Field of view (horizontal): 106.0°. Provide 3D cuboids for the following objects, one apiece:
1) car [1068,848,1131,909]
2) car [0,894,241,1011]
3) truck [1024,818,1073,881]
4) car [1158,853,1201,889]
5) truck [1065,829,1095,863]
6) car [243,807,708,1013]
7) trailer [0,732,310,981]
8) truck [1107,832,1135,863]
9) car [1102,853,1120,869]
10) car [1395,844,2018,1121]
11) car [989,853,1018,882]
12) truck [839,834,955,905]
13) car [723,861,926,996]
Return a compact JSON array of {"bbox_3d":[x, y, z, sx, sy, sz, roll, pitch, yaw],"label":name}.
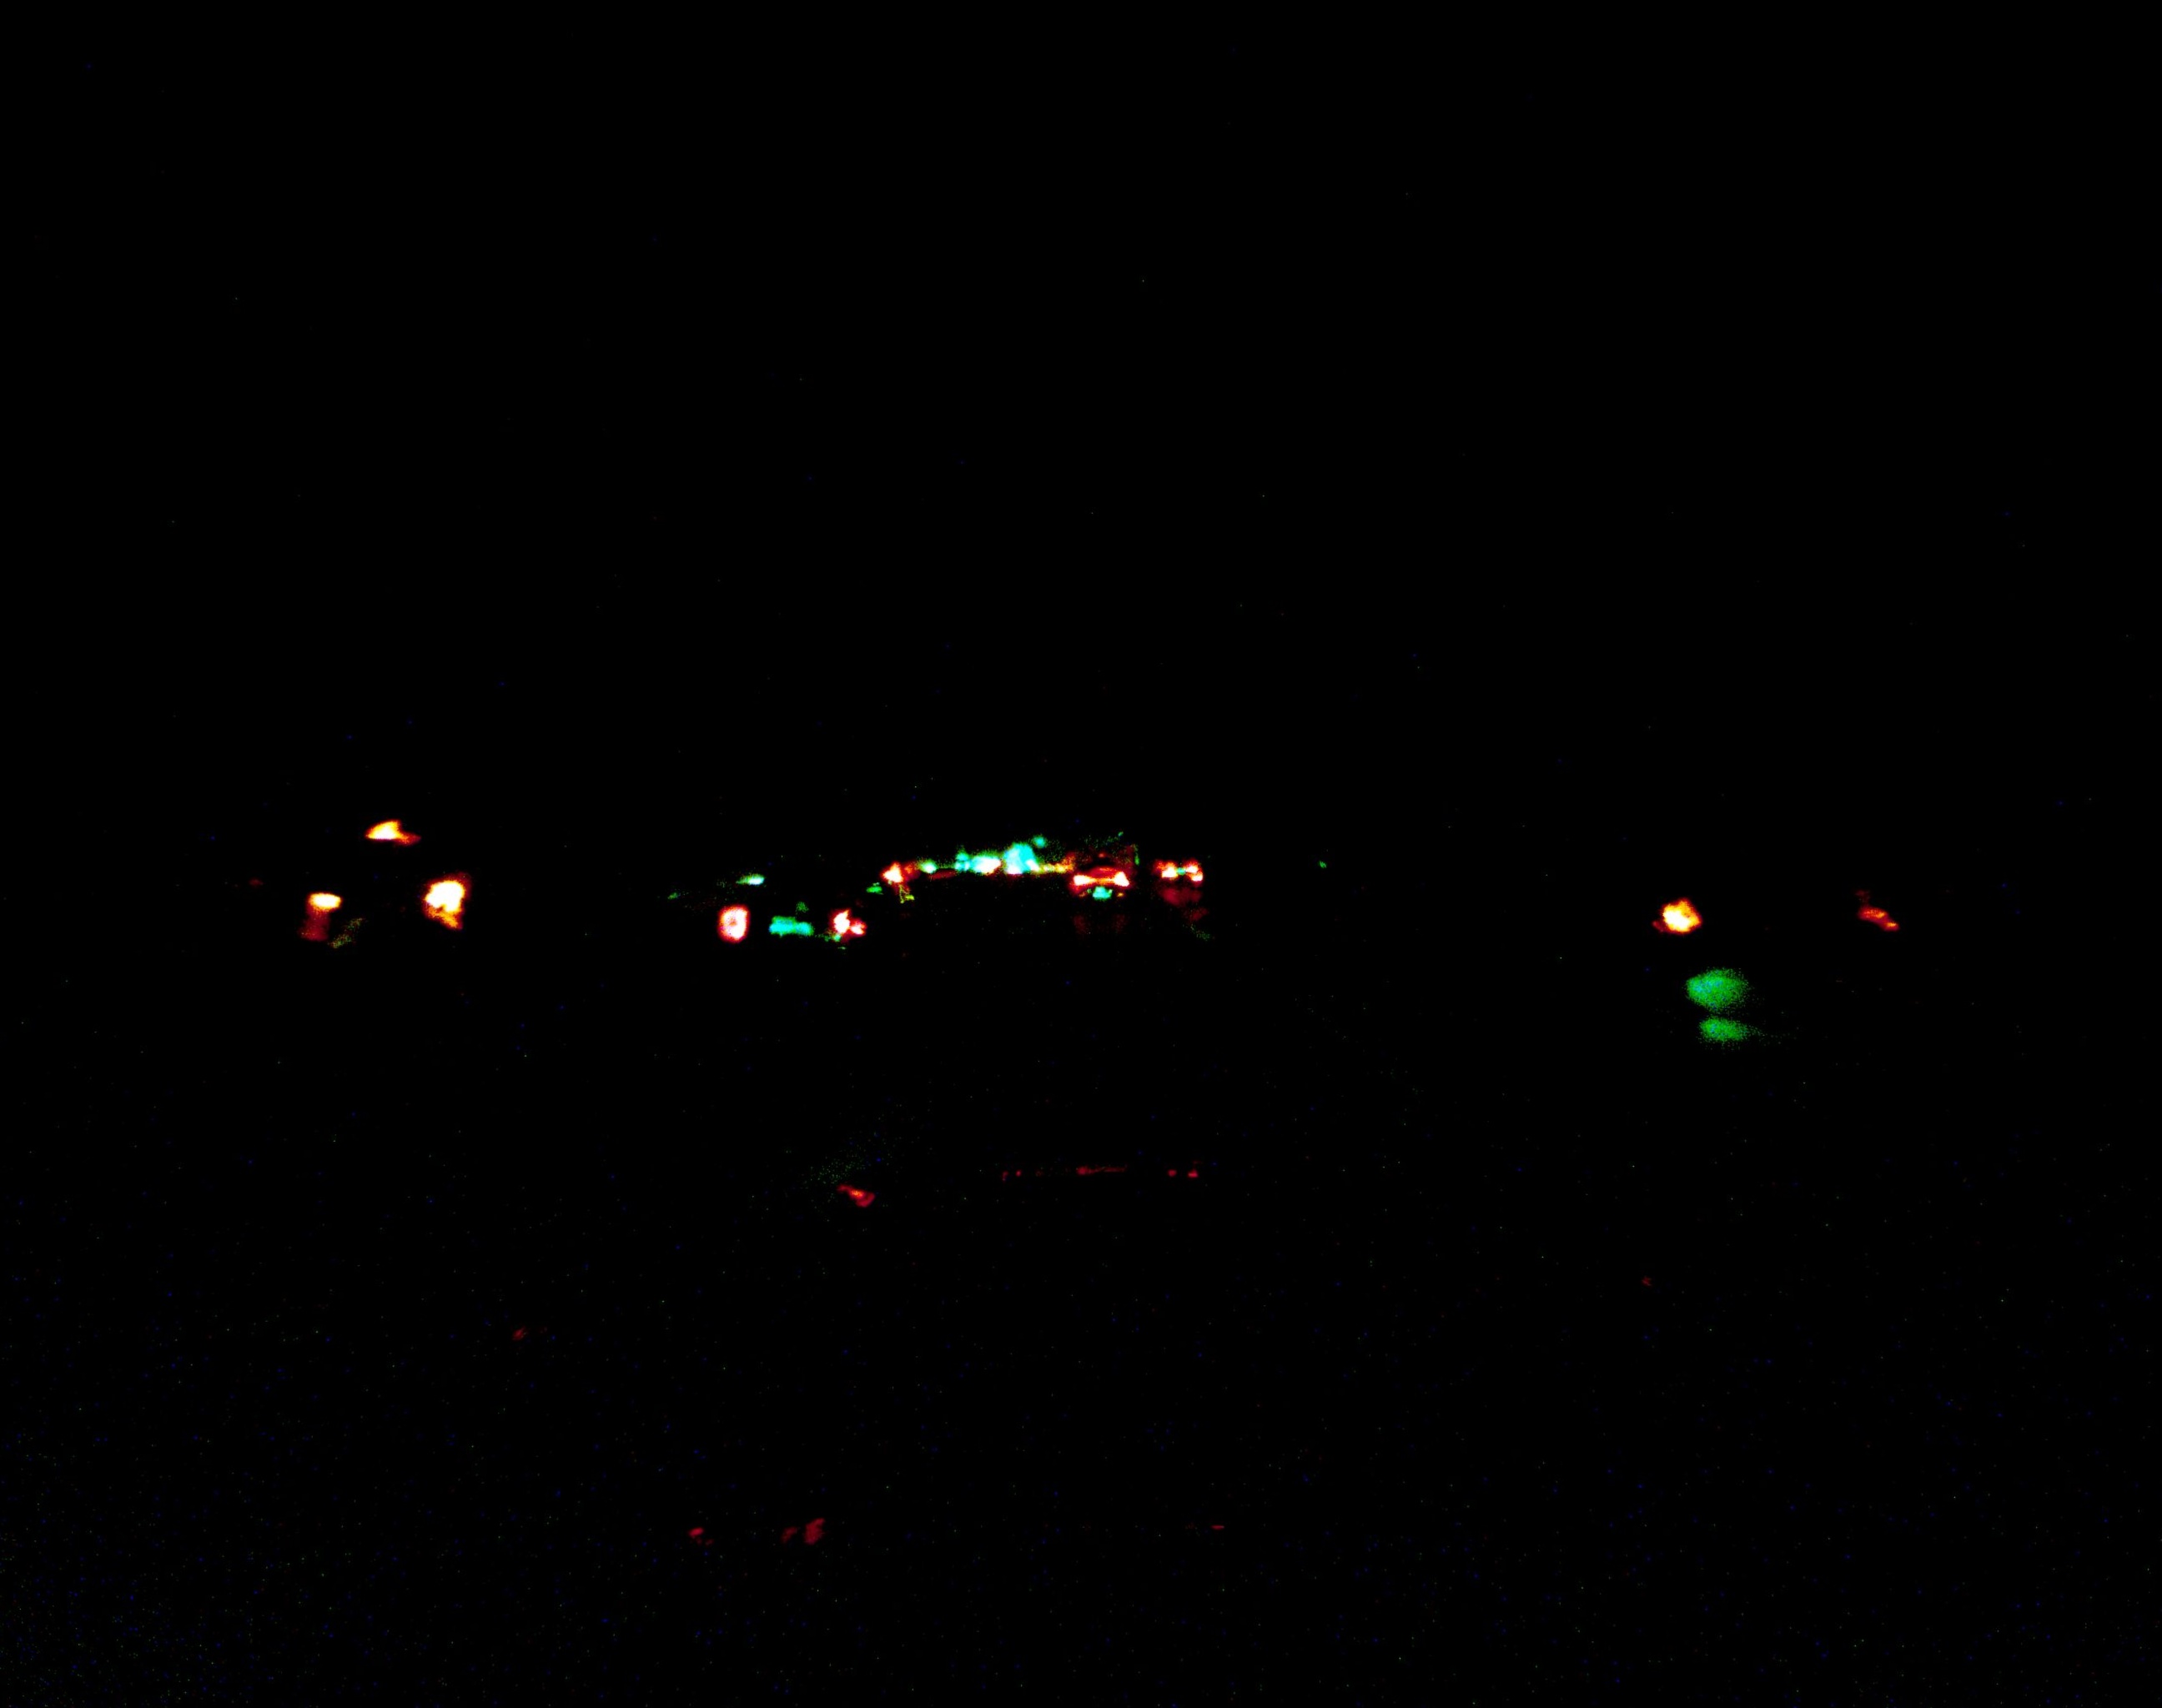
[{"bbox_3d":[0.588,0.671,24.836,1.759,1.689,4.002,-1,0,2],"label":"car"},{"bbox_3d":[-15.948,1.466,12.616,1.650,1.513,4.001,-1,-1,1],"label":"car"},{"bbox_3d":[-2.718,-0.329,66.815,3.648,4.737,9.841,-1,-1,-3],"label":"truck"},{"bbox_3d":[5.010,0.855,41.896,1.871,1.762,4.002,-1,-1,2],"label":"car"},{"bbox_3d":[-0.045,-1.198,134.990,4.237,5.444,10.892,-1,-1,3],"label":"truck"},{"bbox_3d":[-7.604,0.592,11.299,2.115,2.104,5.630,-1,0,1],"label":"car"},{"bbox_3d":[-23.732,0.058,15.483,3.775,5.028,14.804,-1,-1,1],"label":"trailer"},{"bbox_3d":[6.930,-1.054,142.141,4.150,5.215,9.947,-1,-1,-1],"label":"truck"},{"bbox_3d":[3.285,0.754,90.415,1.986,1.704,4.459,-1,-1,1],"label":"car"},{"bbox_3d":[4.205,0.696,6.514,1.764,1.457,4.195,-1,0,0],"label":"car"},{"bbox_3d":[-6.398,1.073,67.155,2.260,2.273,5.375,-1,-1,-5],"label":"car"},{"bbox_3d":[-6.271,0.512,28.713,2.849,2.201,5.855,-1,-1,-1],"label":"truck"},{"bbox_3d":[-3.300,0.853,11.330,1.653,1.431,4.241,-1,0,-3],"label":"car"}]
